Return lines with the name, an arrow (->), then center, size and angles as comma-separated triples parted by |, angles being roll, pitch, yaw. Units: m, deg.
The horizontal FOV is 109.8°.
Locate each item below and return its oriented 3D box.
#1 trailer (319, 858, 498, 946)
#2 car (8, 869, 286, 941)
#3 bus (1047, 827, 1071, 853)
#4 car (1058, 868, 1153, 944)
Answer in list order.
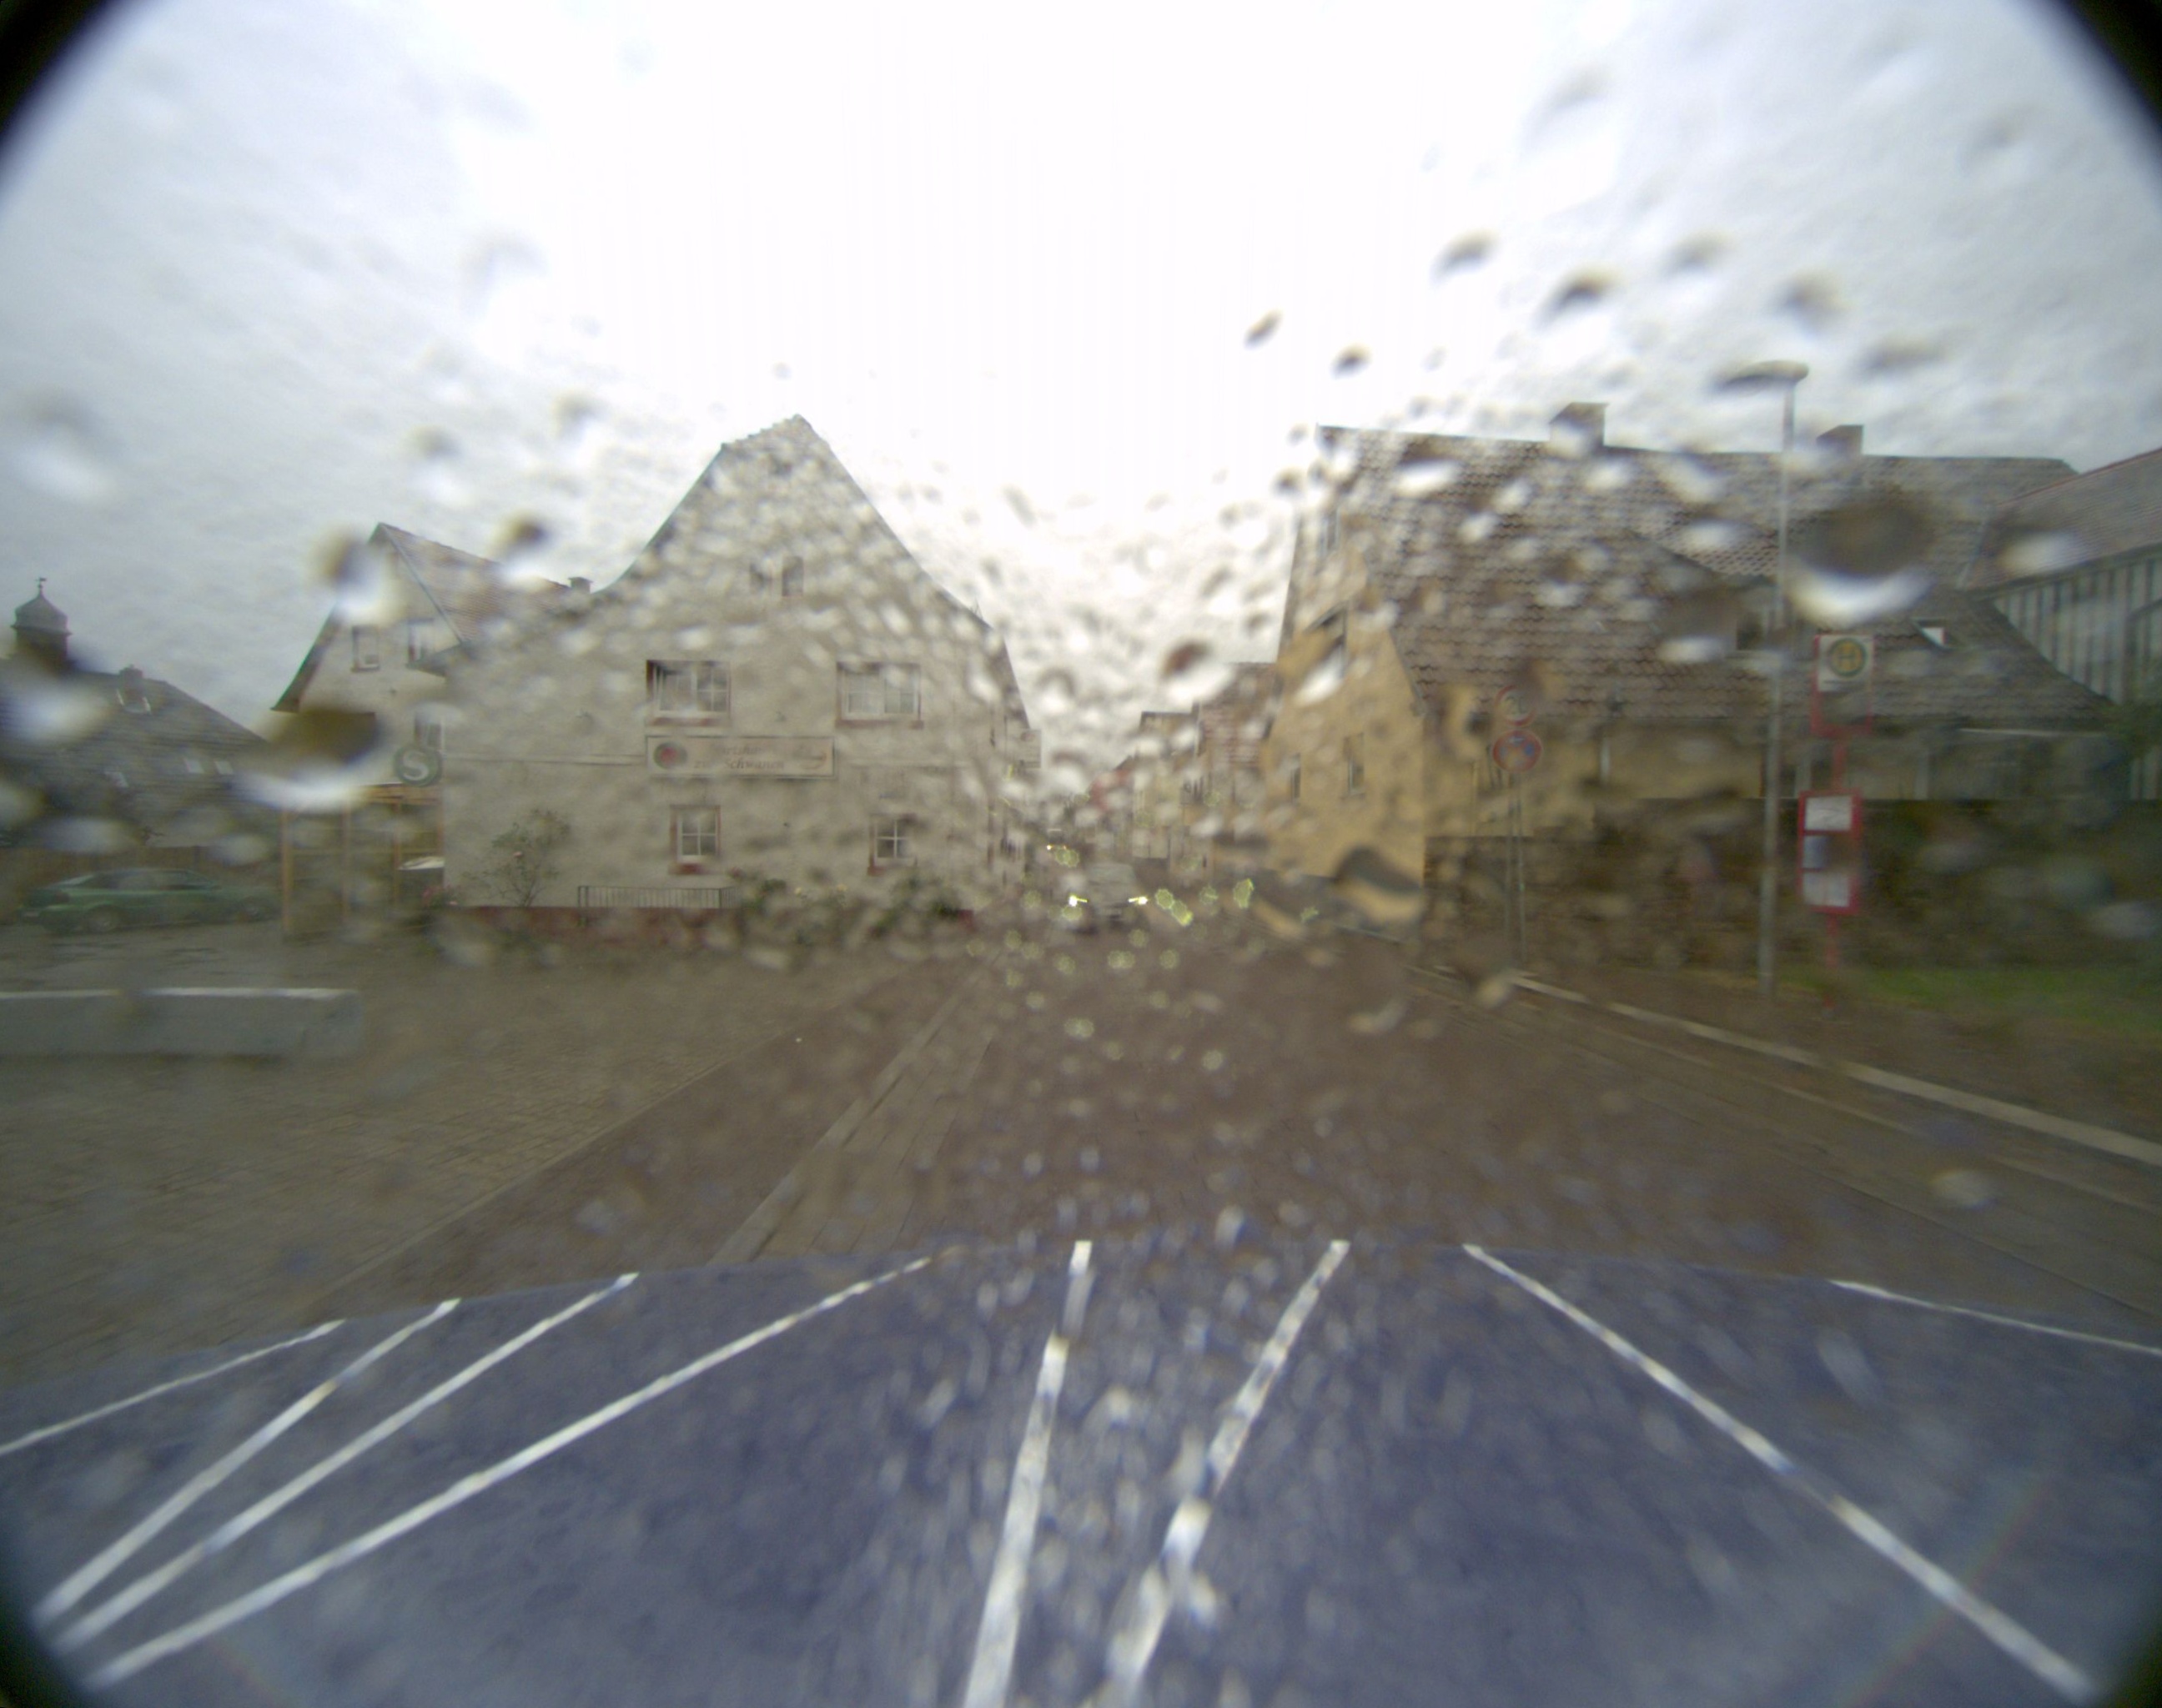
trailer -> -14.621, 0.984, 16.688 | 1.572, 1.732, 2.610 | -1, 0, -1
car -> -22.007, 1.127, 18.147 | 1.630, 1.368, 3.830 | 0, 1, 15
bus -> -3.362, -2.147, 111.086 | 2.894, 3.590, 11.970 | 0, 2, -5
car -> 0.511, 1.042, 16.507 | 1.800, 1.341, 3.738 | -1, 0, 1
